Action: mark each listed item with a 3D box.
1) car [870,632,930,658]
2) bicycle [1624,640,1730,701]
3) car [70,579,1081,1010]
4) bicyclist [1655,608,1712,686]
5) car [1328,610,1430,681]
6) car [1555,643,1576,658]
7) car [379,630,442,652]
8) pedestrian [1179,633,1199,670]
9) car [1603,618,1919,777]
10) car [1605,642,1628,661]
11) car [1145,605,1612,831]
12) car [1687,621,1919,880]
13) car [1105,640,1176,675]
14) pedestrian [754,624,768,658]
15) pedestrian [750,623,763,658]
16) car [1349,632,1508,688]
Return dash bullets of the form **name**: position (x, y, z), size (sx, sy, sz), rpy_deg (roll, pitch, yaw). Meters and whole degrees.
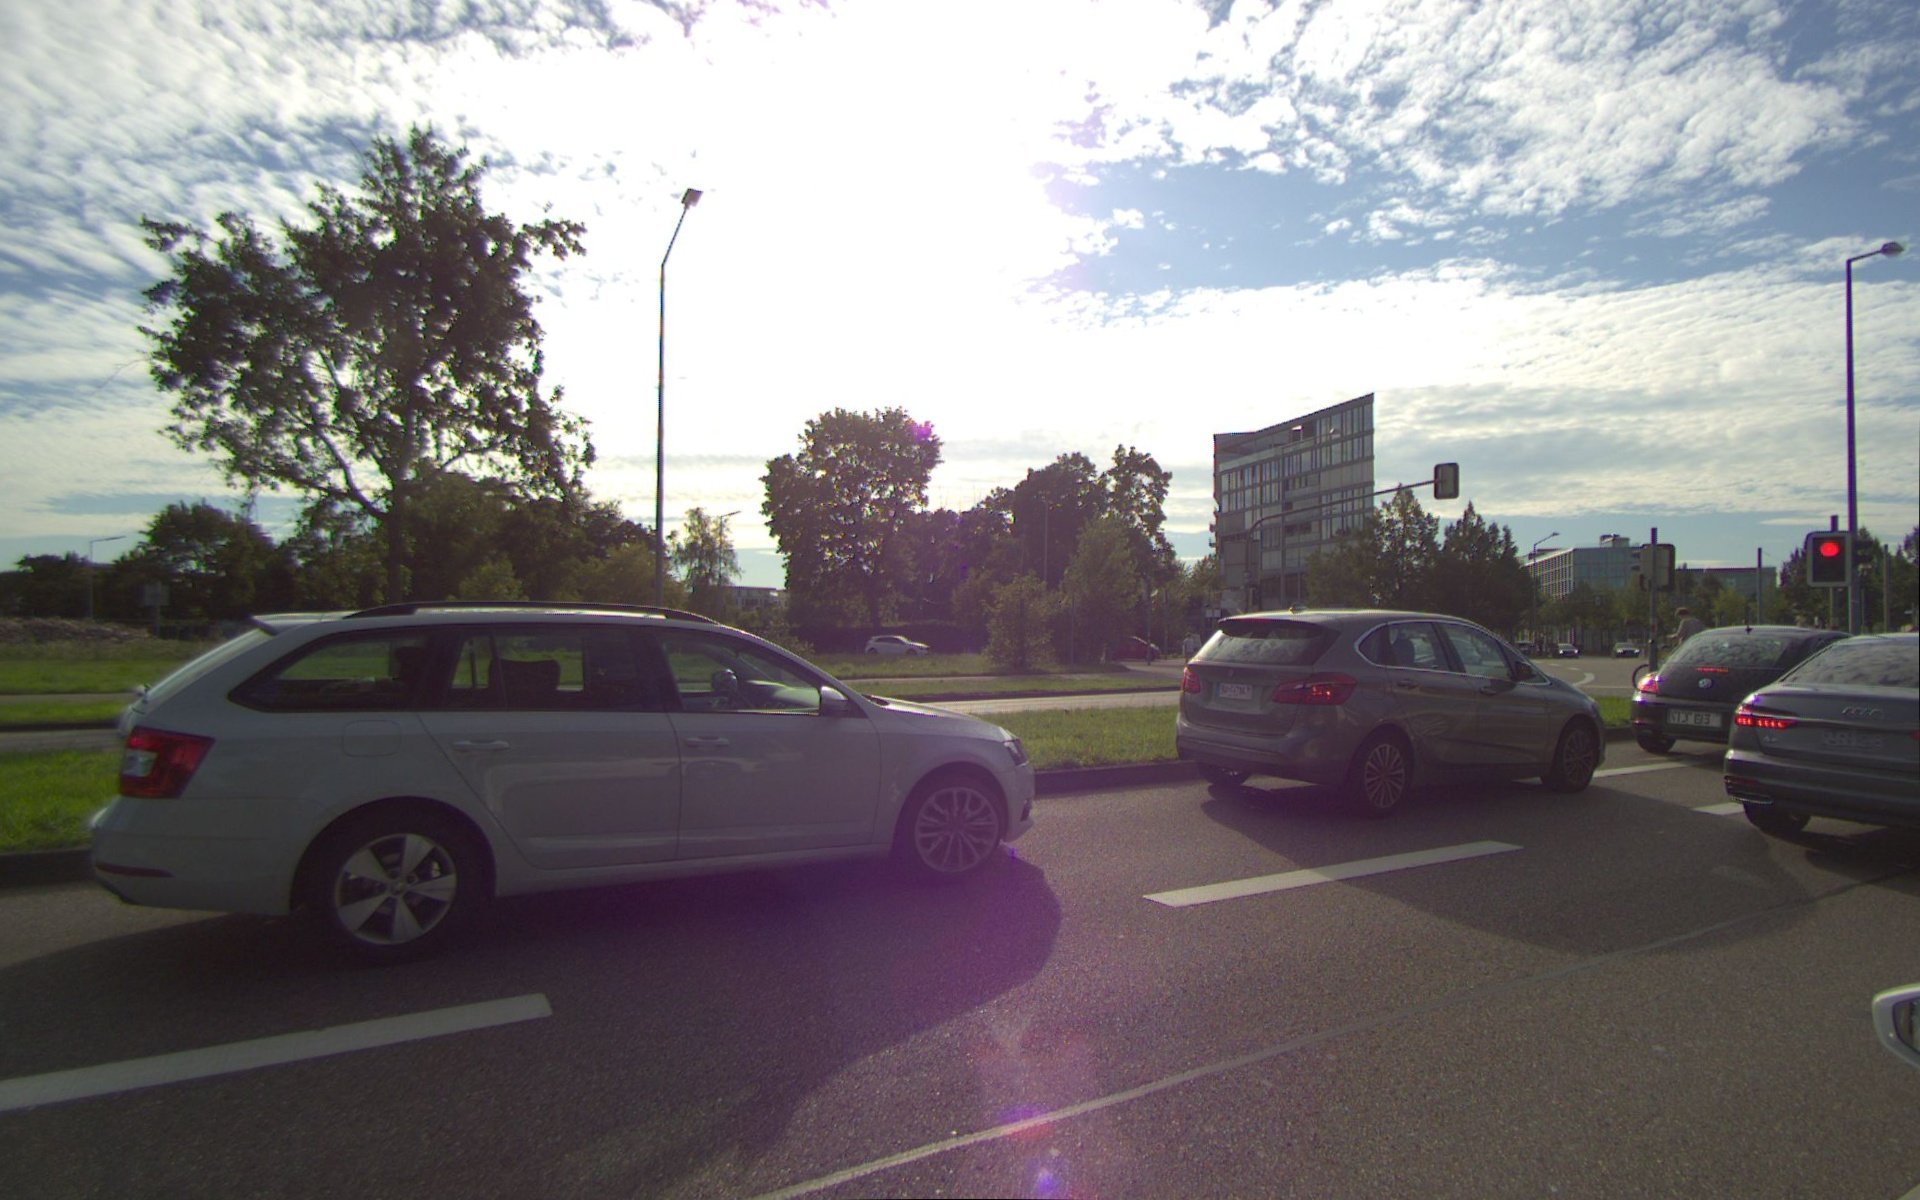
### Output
- **car**: position (-3.813, 2.862, 63.684), size (3.431, 1.613, 1.594), rpy_deg (0, -2, 17)
- **bicycle**: position (14.756, 1.434, 20.696), size (1.707, 1.179, 0.652), rpy_deg (-1, -2, 45)
- **car**: position (-1.632, 0.757, 5.415), size (4.429, 1.518, 1.690), rpy_deg (2, -1, -31)
- **bicyclist**: position (14.852, 0.960, 20.616), size (0.840, 1.546, 0.736), rpy_deg (-2, -3, 44)
- **car**: position (14.714, 1.622, 35.066), size (1.968, 2.264, 5.905), rpy_deg (-3, -4, 36)
- **car**: position (57.684, 4.781, 95.718), size (1.570, 1.433, 3.661), rpy_deg (-1, -2, 33)
- **car**: position (-44.014, 3.288, 80.534), size (4.045, 1.770, 2.002), rpy_deg (0, -2, 10)
- **pedestrian**: position (10.124, 2.266, 44.440), size (0.610, 1.589, 0.650), rpy_deg (2, -2, -37)
- **car**: position (9.285, 1.014, 11.563), size (3.766, 1.543, 1.672), rpy_deg (2, -1, -31)
- **car**: position (56.457, 4.423, 86.371), size (1.593, 1.484, 3.720), rpy_deg (-1, -2, 34)
- **car**: position (3.721, 0.876, 8.781), size (3.971, 1.579, 1.721), rpy_deg (2, -1, -30)
- **car**: position (7.470, 0.958, 7.305), size (4.559, 1.502, 1.881), rpy_deg (2, -1, -31)
- **car**: position (10.654, 3.346, 59.203), size (3.919, 1.793, 1.712), rpy_deg (2, -1, 13)
- **pedestrian**: position (-11.890, 2.457, 59.942), size (0.723, 2.040, 0.739), rpy_deg (0, -2, -6)
- **pedestrian**: position (-11.996, 2.409, 59.139), size (0.675, 2.040, 0.641), rpy_deg (0, -2, -5)
- **car**: position (12.765, 1.628, 27.316), size (4.158, 1.428, 1.892), rpy_deg (2, -4, -31)
